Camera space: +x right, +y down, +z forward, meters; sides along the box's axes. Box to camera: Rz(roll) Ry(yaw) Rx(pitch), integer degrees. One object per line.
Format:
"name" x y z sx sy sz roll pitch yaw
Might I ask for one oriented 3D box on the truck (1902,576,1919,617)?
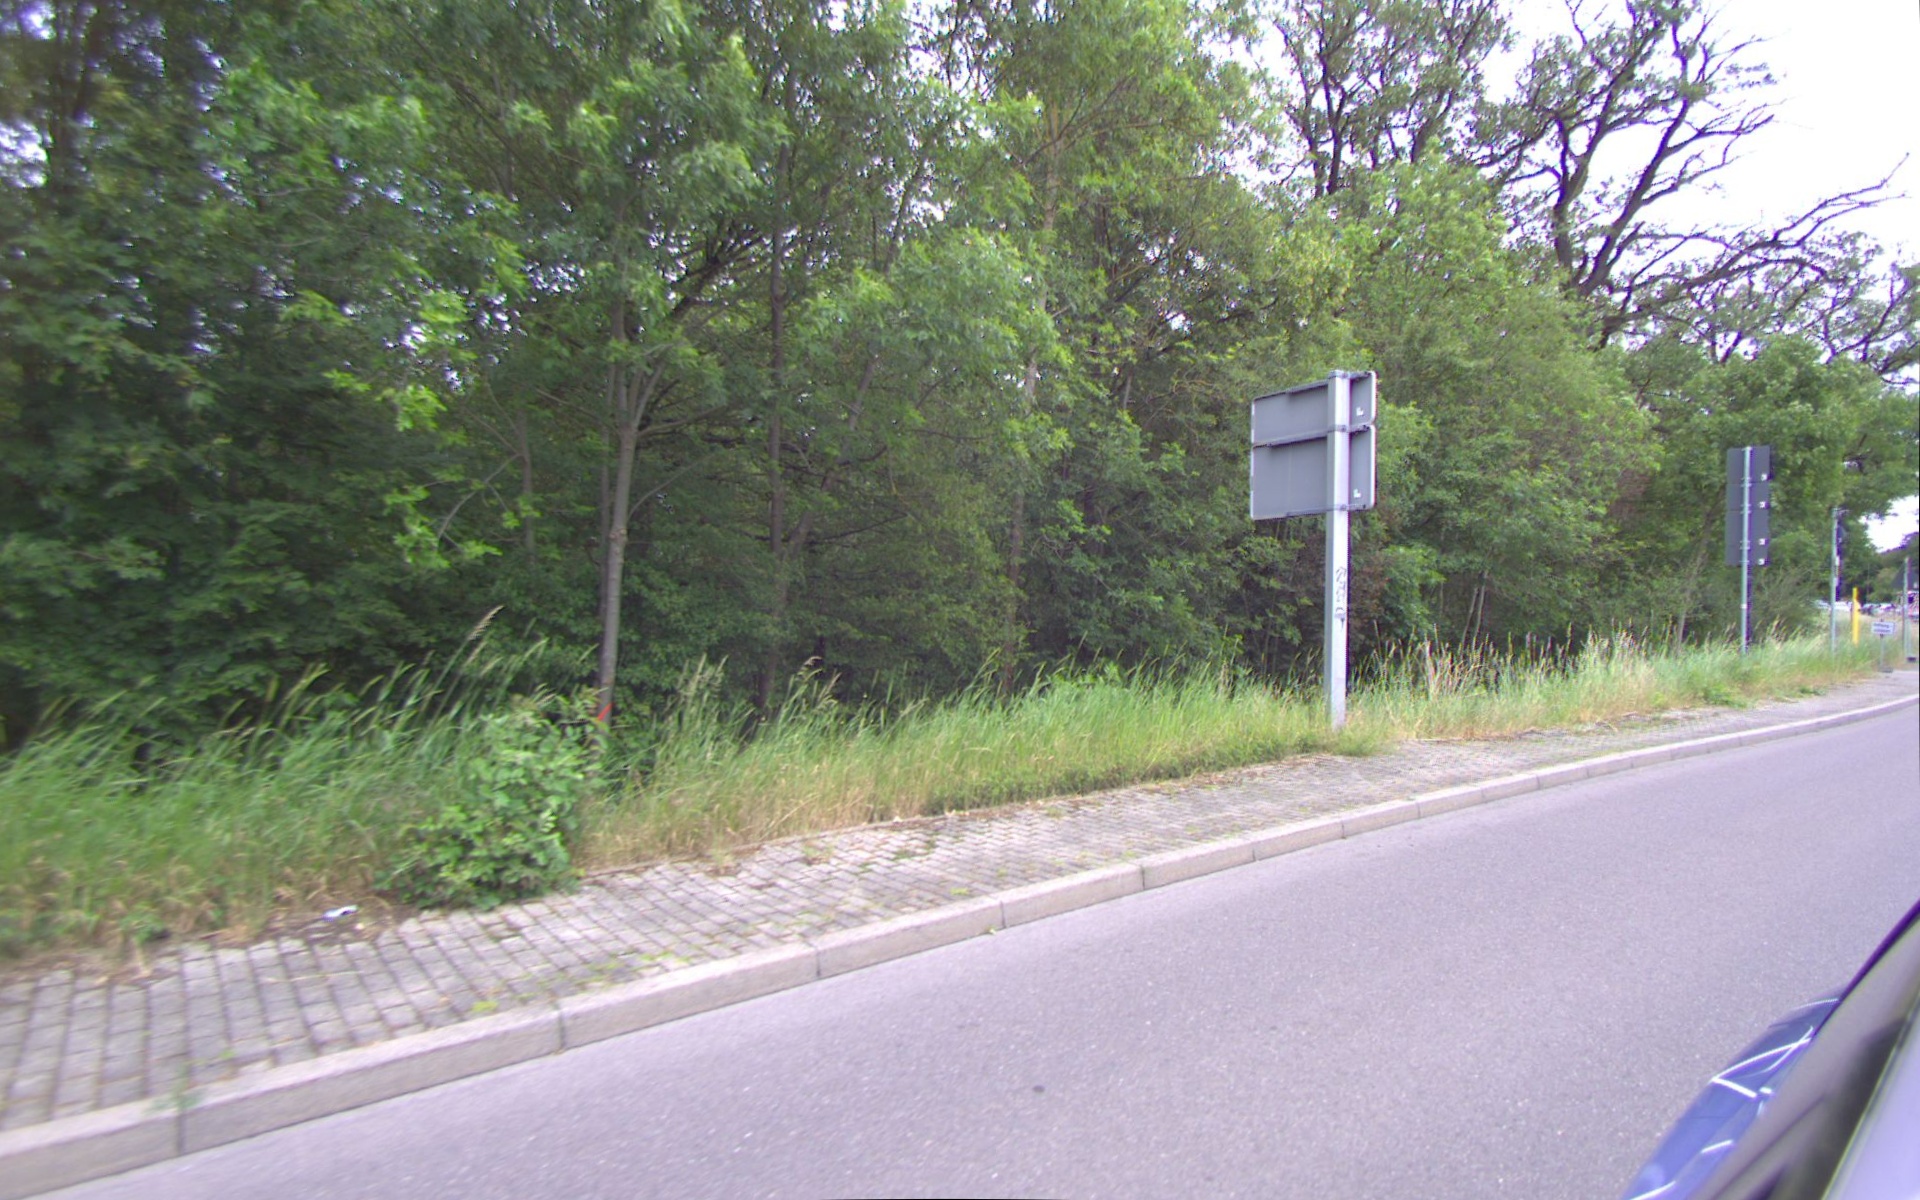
"truck" 88.490 -0.262 92.569 2.996 3.685 6.984 1 1 40
